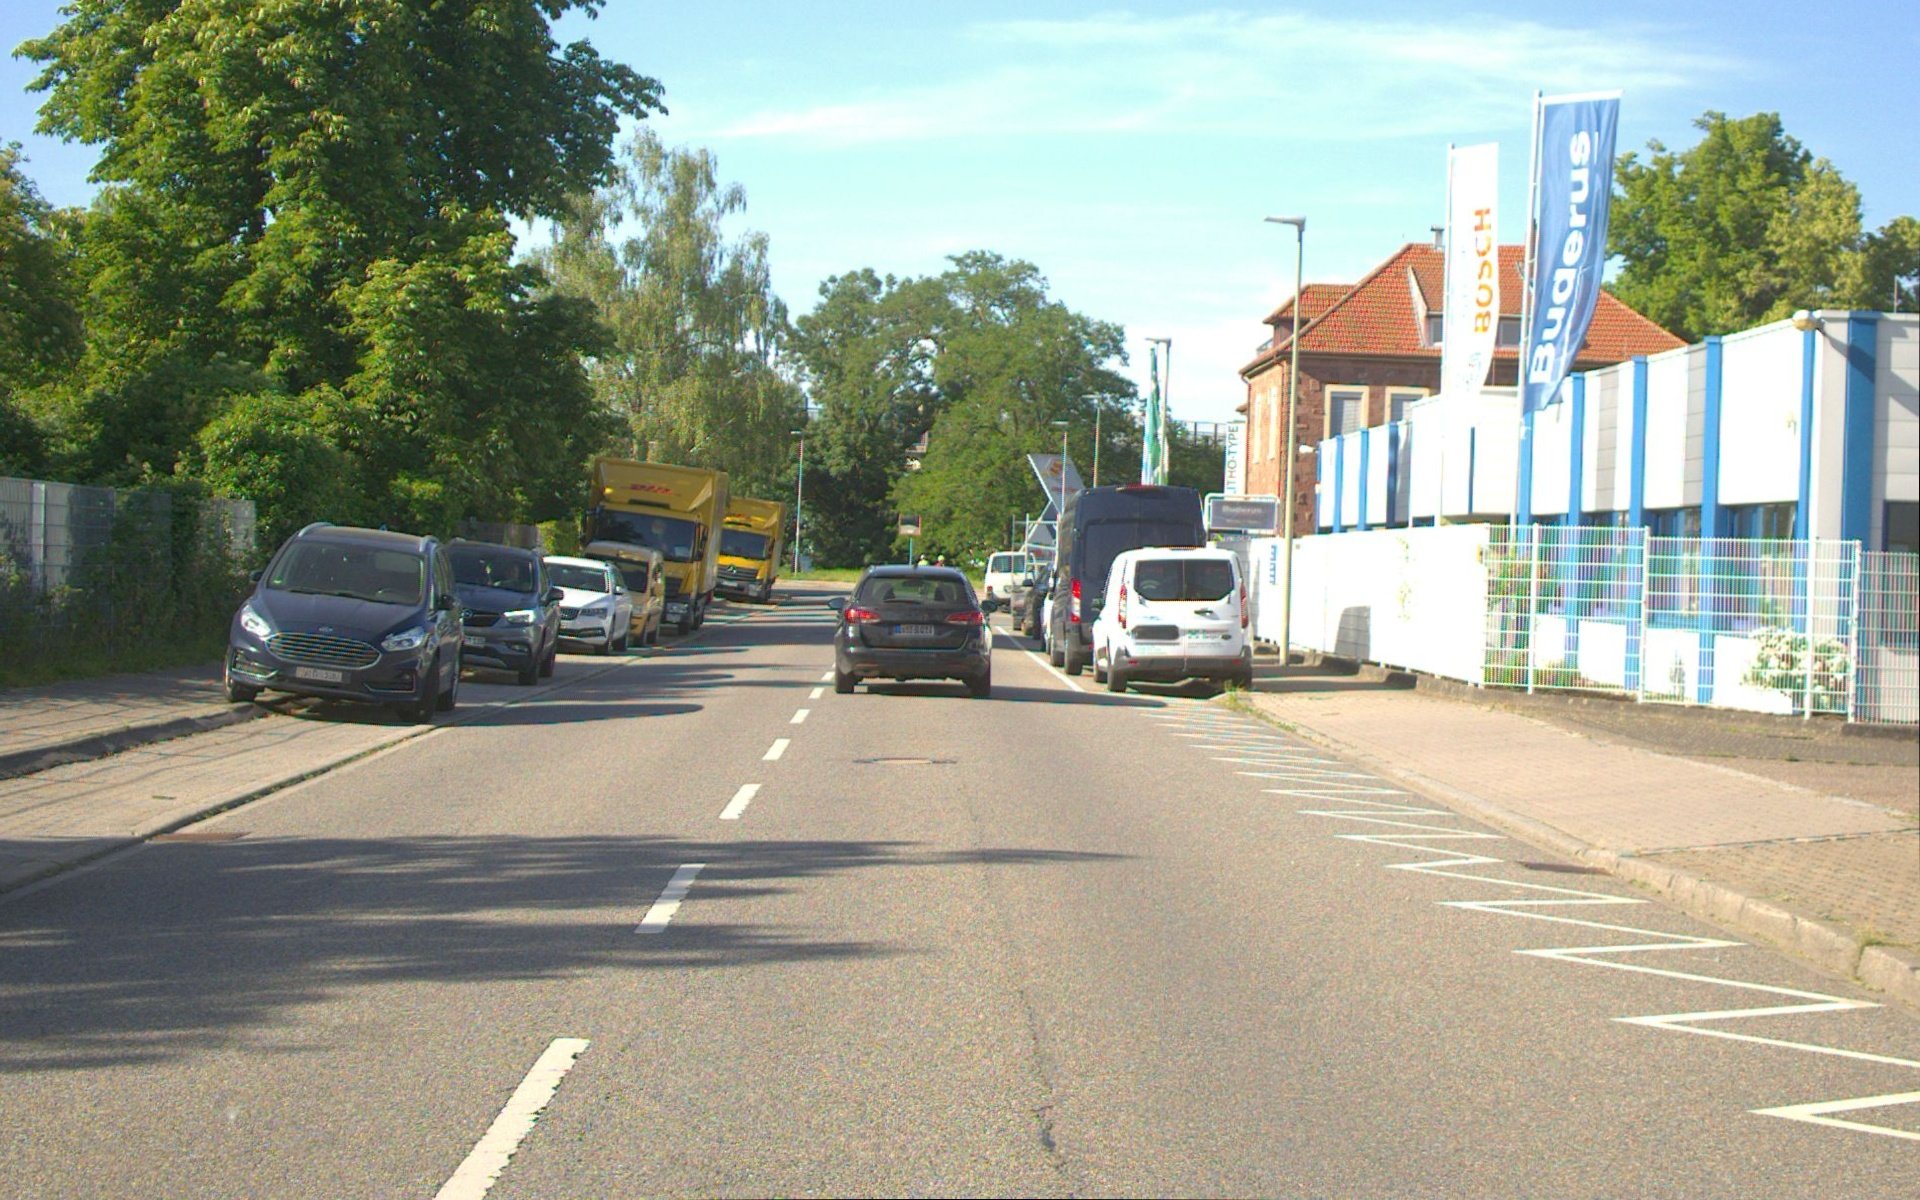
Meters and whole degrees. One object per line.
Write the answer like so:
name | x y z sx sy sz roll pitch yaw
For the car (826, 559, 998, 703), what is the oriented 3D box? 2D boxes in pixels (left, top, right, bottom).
car | -0.518 0.322 39.695 1.847 1.525 4.000 2 1 0

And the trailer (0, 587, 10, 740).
trailer | -5.307 0.572 14.874 1.476 1.349 3.078 4 0 0

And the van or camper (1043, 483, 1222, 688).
van or camper | 2.497 -0.201 51.384 2.141 2.750 6.161 4 0 0

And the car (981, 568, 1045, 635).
car | 1.692 0.039 111.460 1.874 2.007 5.160 4 0 0

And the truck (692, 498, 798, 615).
truck | -7.293 -1.537 117.543 2.632 3.493 8.657 8 1 0

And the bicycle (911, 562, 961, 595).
bicycle | -0.981 -0.881 140.141 0.803 1.263 2.258 4 0 -35

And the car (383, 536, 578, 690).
car | -6.034 0.128 43.746 1.908 1.657 4.464 6 0 -3

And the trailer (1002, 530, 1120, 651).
trailer | 2.334 -0.221 81.136 2.460 2.663 5.702 2 0 -1

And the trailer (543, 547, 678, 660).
trailer | -6.368 0.056 63.046 1.993 1.935 4.415 2 0 0

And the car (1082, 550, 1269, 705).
car | 2.752 0.339 44.945 1.885 1.791 5.104 4 0 -1

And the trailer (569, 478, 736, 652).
trailer | -6.513 -0.722 73.952 2.991 3.431 8.162 2 0 -2

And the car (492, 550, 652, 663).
car | -6.378 0.090 57.075 1.908 1.587 5.025 6 0 0

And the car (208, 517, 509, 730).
car | -5.675 0.187 33.042 1.792 1.725 4.802 6 1 1

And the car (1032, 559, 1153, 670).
car | 2.371 0.257 62.621 1.855 1.824 5.168 4 0 0
